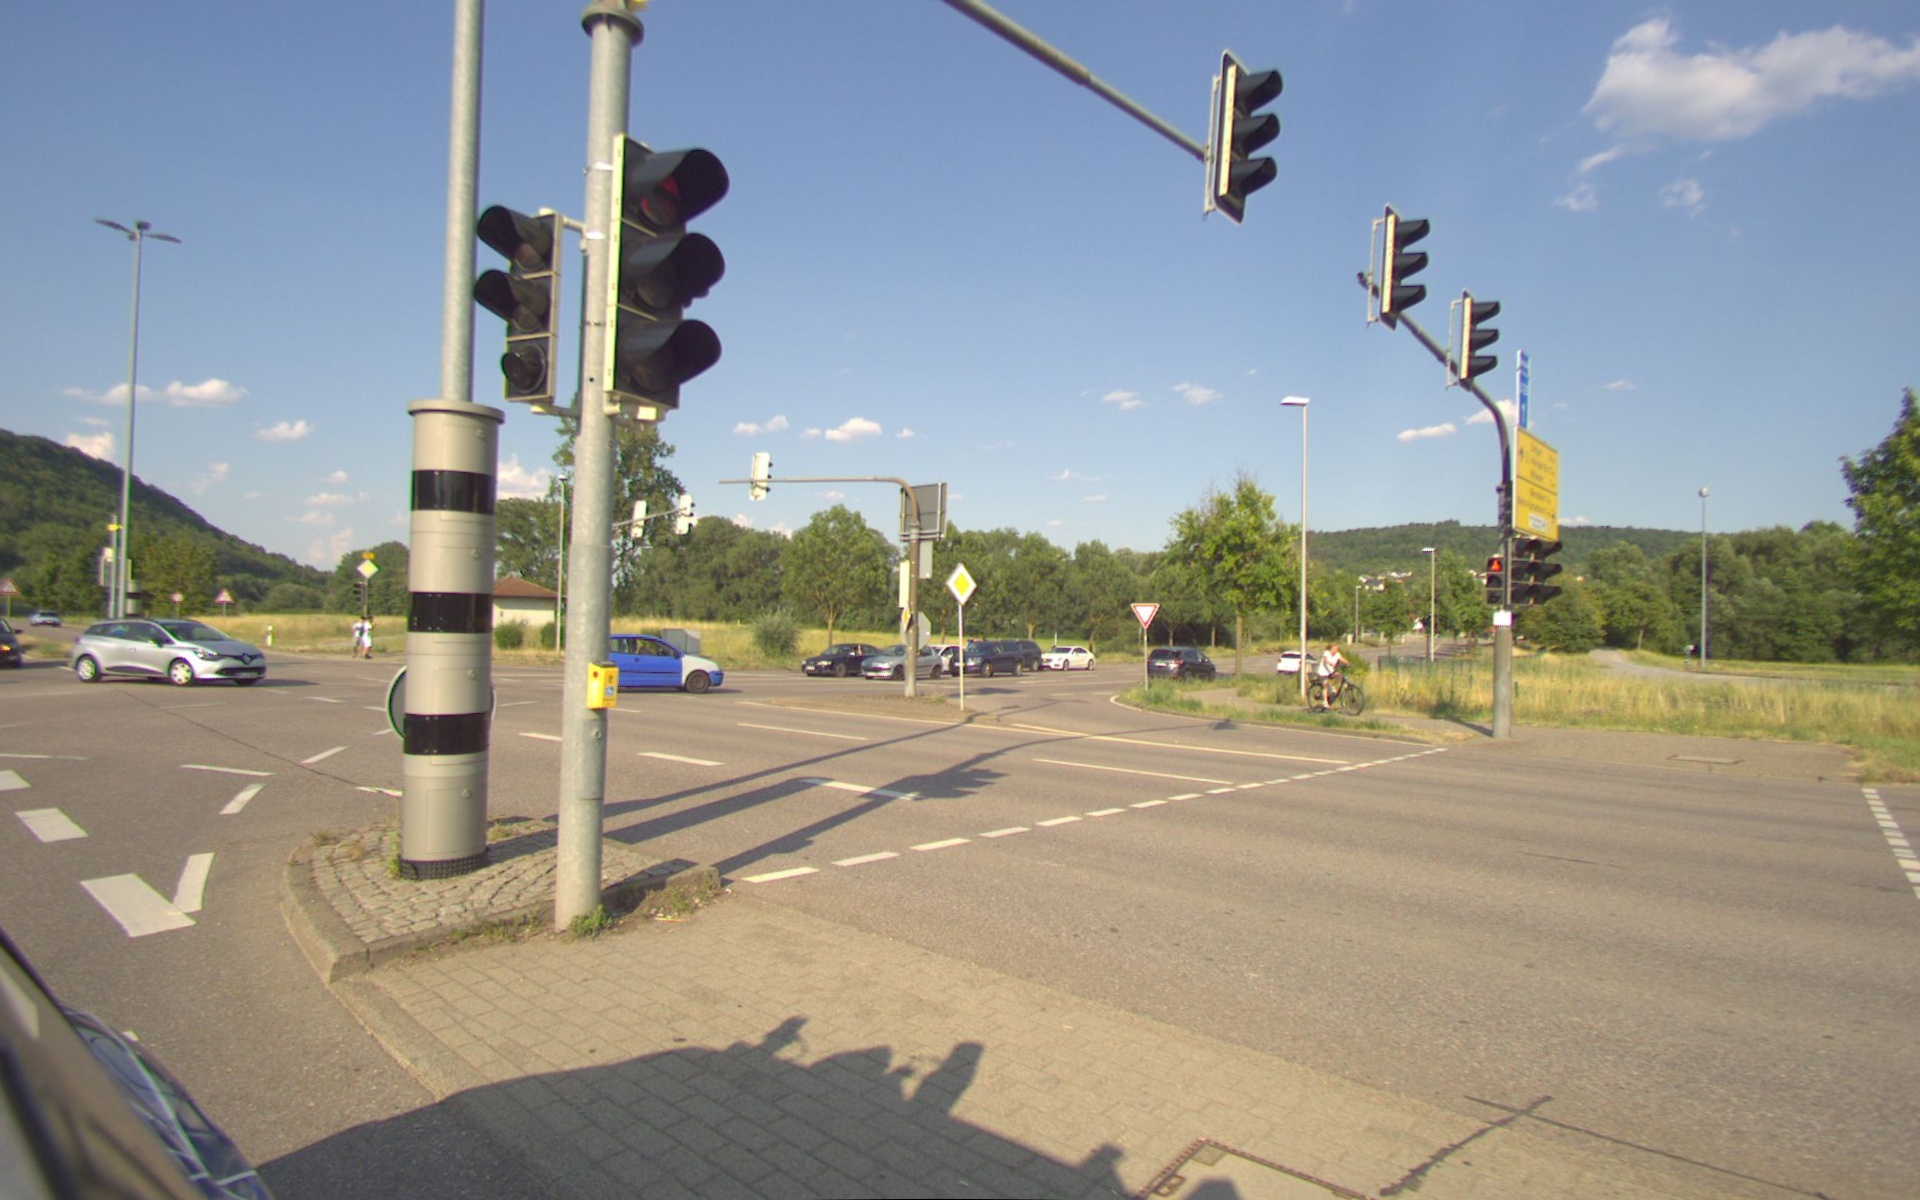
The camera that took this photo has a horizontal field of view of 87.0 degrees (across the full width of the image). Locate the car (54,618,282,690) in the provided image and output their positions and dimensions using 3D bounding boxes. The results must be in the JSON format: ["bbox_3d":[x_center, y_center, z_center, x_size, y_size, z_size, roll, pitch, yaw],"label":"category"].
[{"bbox_3d":[-17.589,1.149,22.528,4.146,1.488,1.756,0,-1,12],"label":"car"}]

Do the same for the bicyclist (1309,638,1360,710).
[{"bbox_3d":[8.226,1.614,22.261,0.713,1.512,0.921,0,0,-5],"label":"bicyclist"}]

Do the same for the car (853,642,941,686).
[{"bbox_3d":[-2.418,2.449,39.601,1.759,1.431,3.844,0,0,27],"label":"car"}]

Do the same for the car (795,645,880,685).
[{"bbox_3d":[-4.992,2.635,41.801,1.628,1.370,3.844,0,0,27],"label":"car"}]

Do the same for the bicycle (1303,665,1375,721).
[{"bbox_3d":[8.260,2.007,22.152,0.698,1.047,1.938,0,0,-5],"label":"bicycle"}]

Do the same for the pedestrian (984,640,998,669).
[{"bbox_3d":[1.986,3.483,64.810,0.718,1.771,0.691,0,0,18],"label":"pedestrian"}]

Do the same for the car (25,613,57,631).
[{"bbox_3d":[-81.582,1.972,89.830,4.145,1.445,1.690,0,-3,43],"label":"car"}]

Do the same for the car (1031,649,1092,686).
[{"bbox_3d":[5.802,3.780,57.393,1.746,1.785,3.952,0,0,36],"label":"car"}]

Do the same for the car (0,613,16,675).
[{"bbox_3d":[-26.722,1.163,27.265,4.000,1.586,1.596,0,0,43],"label":"car"}]

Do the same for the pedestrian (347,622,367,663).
[{"bbox_3d":[-24.511,1.737,41.162,0.645,1.618,0.839,0,0,-27],"label":"pedestrian"}]

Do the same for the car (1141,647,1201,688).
[{"bbox_3d":[9.675,3.037,46.186,1.913,1.703,4.126,2,-2,22],"label":"car"}]

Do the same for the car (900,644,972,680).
[{"bbox_3d":[-1.092,2.886,47.499,1.759,1.431,3.844,0,0,27],"label":"car"}]

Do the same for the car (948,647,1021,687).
[{"bbox_3d":[1.131,2.911,44.606,1.759,1.431,3.844,0,0,27],"label":"car"}]

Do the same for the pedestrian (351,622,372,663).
[{"bbox_3d":[-23.908,1.690,40.438,0.645,1.618,0.892,0,0,-27],"label":"pedestrian"}]

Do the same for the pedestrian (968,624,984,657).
[{"bbox_3d":[1.017,2.532,63.261,0.722,2.029,0.687,0,0,35],"label":"pedestrian"}]

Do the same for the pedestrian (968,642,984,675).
[{"bbox_3d":[1.027,3.657,63.491,0.685,2.029,0.725,0,0,-42],"label":"pedestrian"}]

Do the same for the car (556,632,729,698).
[{"bbox_3d":[-7.881,1.594,25.207,3.825,1.511,1.698,2,-2,-28],"label":"car"}]

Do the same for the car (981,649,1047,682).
[{"bbox_3d":[2.857,3.391,53.064,1.764,1.431,3.834,0,0,35],"label":"car"}]

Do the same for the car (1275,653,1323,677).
[{"bbox_3d":[20.785,3.957,61.957,1.765,1.378,3.703,0,-2,37],"label":"car"}]
